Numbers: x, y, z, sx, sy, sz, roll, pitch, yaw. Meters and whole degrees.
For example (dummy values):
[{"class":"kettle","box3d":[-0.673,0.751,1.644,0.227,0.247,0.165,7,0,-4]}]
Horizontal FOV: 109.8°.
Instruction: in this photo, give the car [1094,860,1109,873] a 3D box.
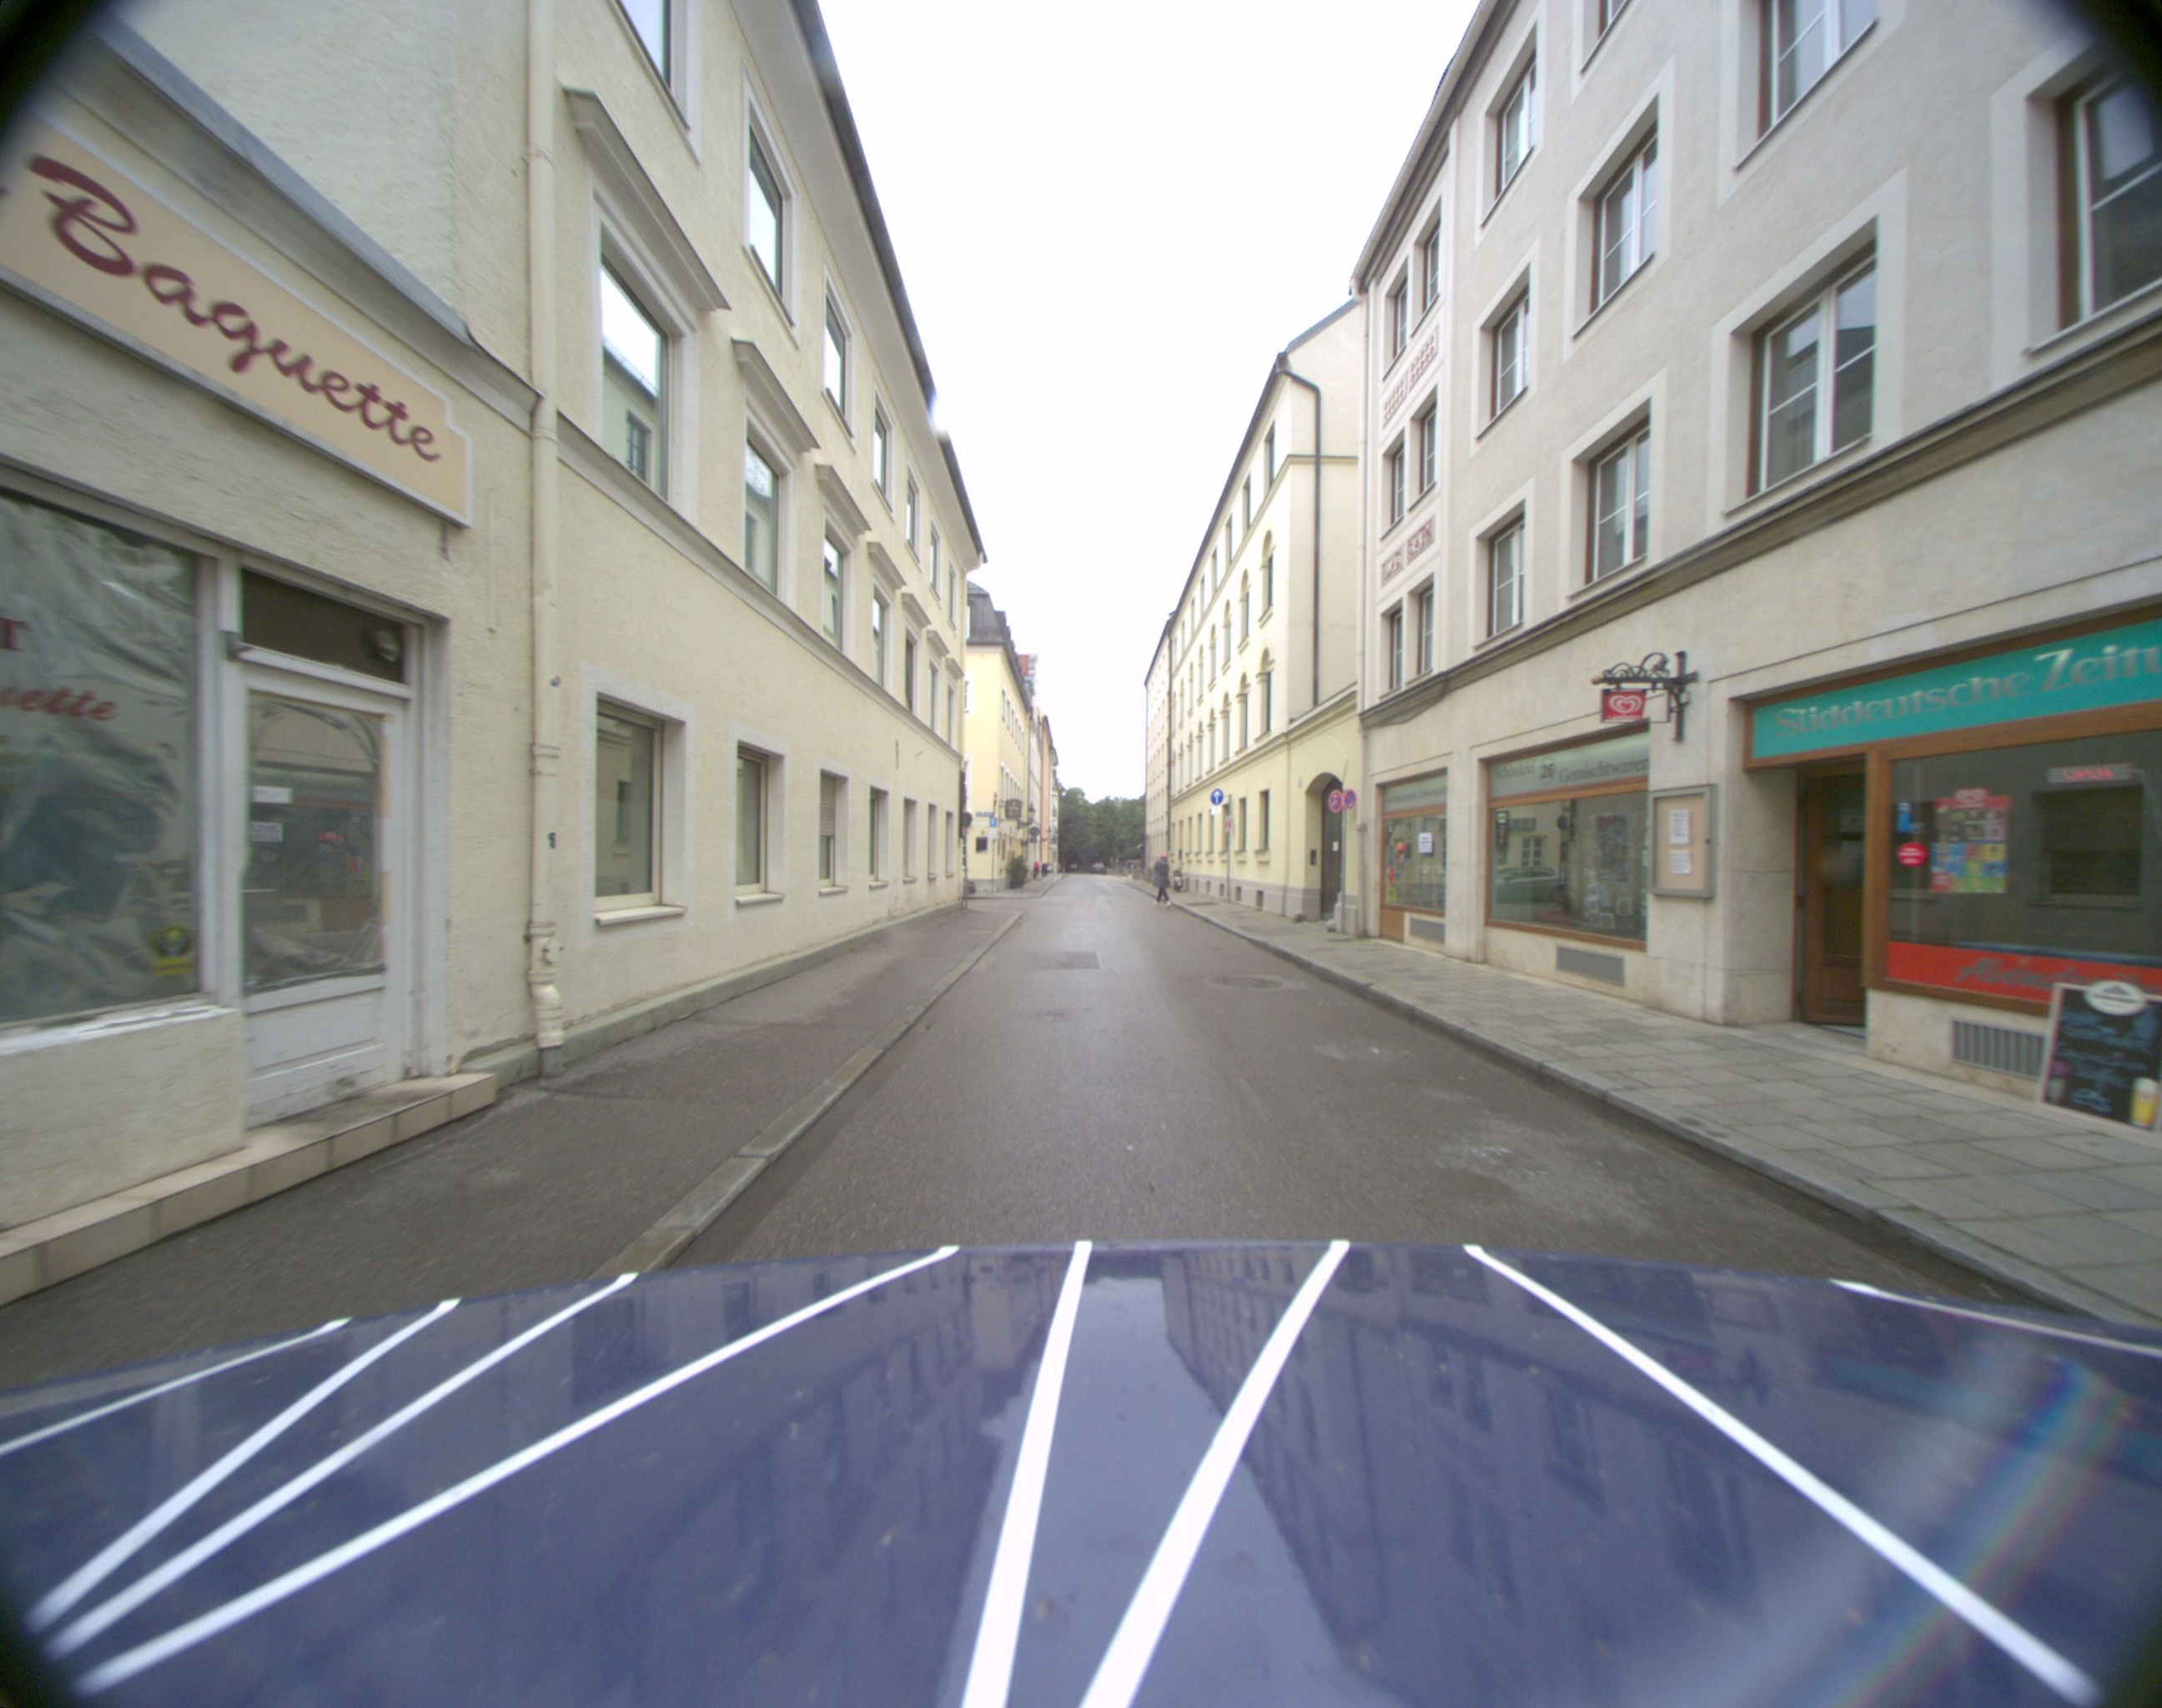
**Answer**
[{"class":"car","box3d":[2.638,1.556,97.515,1.817,1.584,4.001,1,-1,0]}]

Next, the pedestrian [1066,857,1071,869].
[{"class":"pedestrian","box3d":[-1.818,1.288,109.166,0.753,1.725,0.853,1,-1,-1]}]

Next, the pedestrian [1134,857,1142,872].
[{"class":"pedestrian","box3d":[6.510,1.221,86.647,0.826,1.712,0.906,-1,-1,5]}]

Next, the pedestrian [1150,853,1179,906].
[{"class":"pedestrian","box3d":[2.814,0.849,25.677,0.811,1.745,0.990,0,-1,-2]}]

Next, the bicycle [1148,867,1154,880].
[{"class":"bicycle","box3d":[5.005,1.391,54.439,0.320,0.938,1.574,-2,0,2]}]

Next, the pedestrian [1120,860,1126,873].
[{"class":"pedestrian","box3d":[4.845,1.404,87.071,0.640,1.458,1.079,-1,-1,1]}]

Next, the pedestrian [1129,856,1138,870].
[{"class":"pedestrian","box3d":[7.720,1.355,111.724,1.226,2.091,1.117,1,-1,2]}]

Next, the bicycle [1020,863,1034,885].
[{"class":"bicycle","box3d":[-2.968,1.097,42.082,0.567,1.130,1.684,3,0,1]}]

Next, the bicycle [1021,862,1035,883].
[{"class":"bicycle","box3d":[-3.086,1.077,44.301,0.567,1.130,1.988,3,0,1]}]

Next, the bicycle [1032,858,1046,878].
[{"class":"bicycle","box3d":[-3.043,0.989,55.388,0.715,1.388,2.122,3,0,3]}]

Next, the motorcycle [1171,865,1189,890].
[{"class":"motorcycle","box3d":[4.670,1.104,35.935,0.603,1.167,1.708,0,0,0]}]

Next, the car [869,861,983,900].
[{"class":"car","box3d":[-5.944,1.039,29.452,4.024,1.432,1.765,0,-2,2]}]

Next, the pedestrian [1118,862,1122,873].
[{"class":"pedestrian","box3d":[6.299,2.188,123.817,0.625,1.758,0.767,1,-1,0]}]

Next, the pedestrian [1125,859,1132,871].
[{"class":"pedestrian","box3d":[5.737,1.333,91.863,0.779,1.530,0.933,-1,-1,2]}]

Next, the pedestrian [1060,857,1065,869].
[{"class":"pedestrian","box3d":[-2.664,1.296,108.985,0.753,1.670,0.656,1,-1,-1]}]

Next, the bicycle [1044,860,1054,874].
[{"class":"bicycle","box3d":[-3.025,1.209,72.333,0.681,1.233,2.383,5,-1,2]}]
